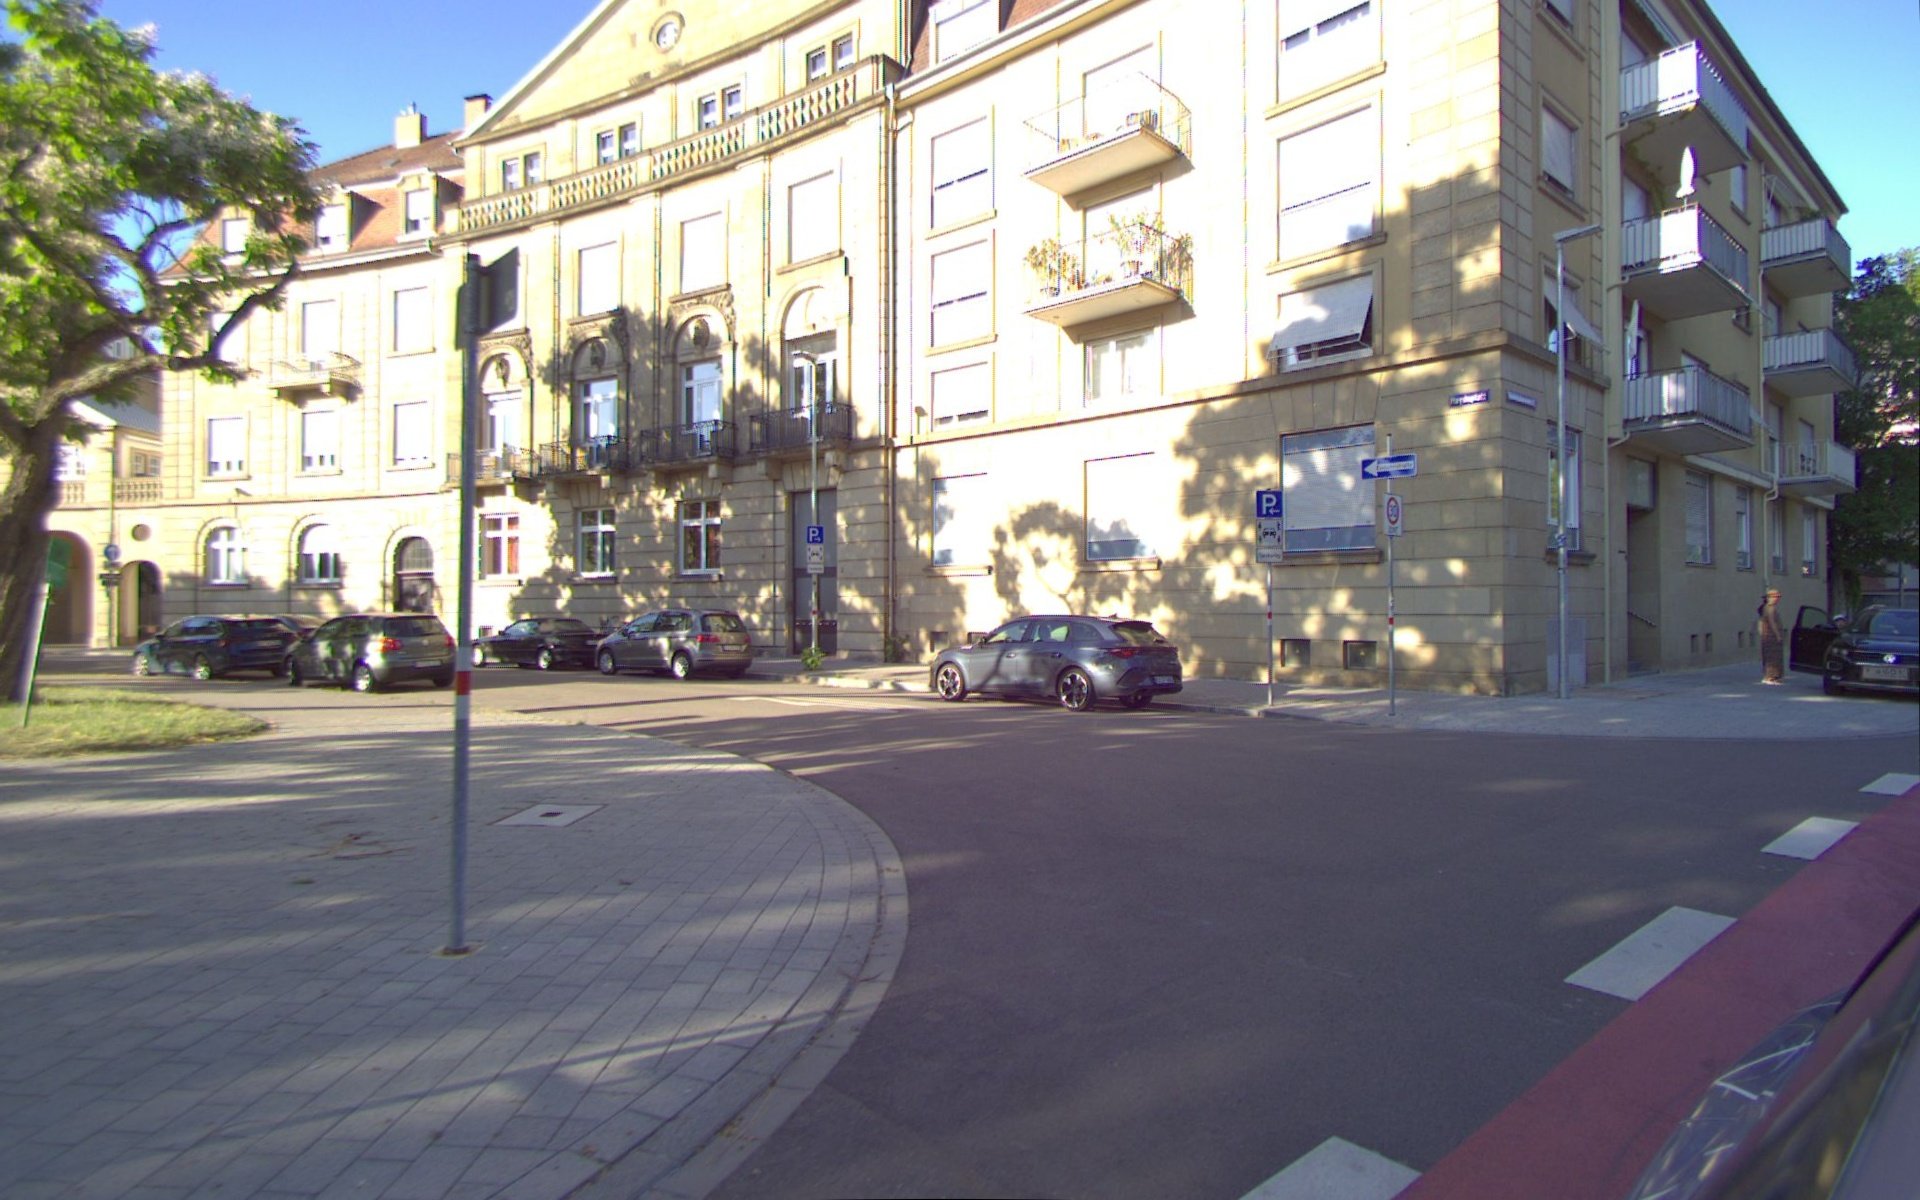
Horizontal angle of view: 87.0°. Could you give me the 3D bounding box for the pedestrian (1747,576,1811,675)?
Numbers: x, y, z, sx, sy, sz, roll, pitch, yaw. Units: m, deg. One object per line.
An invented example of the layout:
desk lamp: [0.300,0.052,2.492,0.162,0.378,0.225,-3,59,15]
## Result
pedestrian: [15.525,0.483,19.209,0.721,1.854,0.554,-1,-1,14]

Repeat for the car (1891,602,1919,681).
car: [20.116,0.792,20.095,4.269,1.437,1.708,-1,2,-38]

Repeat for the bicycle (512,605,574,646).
bicycle: [-13.314,0.803,32.287,2.102,1.245,0.609,0,0,26]

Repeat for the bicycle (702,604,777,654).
bicycle: [-6.067,0.772,27.775,2.240,1.327,0.607,0,0,33]

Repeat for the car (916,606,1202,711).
car: [1.473,0.830,16.393,1.904,1.437,4.440,-1,0,-45]

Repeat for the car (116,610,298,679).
car: [-17.151,0.954,23.004,4.395,1.435,1.552,0,0,27]

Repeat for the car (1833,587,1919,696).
car: [16.300,0.663,17.093,4.271,1.646,1.706,1,1,-40]

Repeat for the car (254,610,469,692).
car: [-11.905,0.936,20.070,4.330,1.435,1.826,0,0,30]

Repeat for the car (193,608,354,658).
car: [-21.474,1.004,31.665,4.590,1.435,1.808,-1,0,19]

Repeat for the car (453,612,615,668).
car: [-11.189,0.992,26.508,4.412,1.341,1.490,0,0,29]

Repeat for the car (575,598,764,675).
car: [-6.823,0.787,23.646,4.420,1.620,1.782,0,0,33]

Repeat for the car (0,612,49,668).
car: [-26.990,1.066,27.324,4.317,1.435,1.807,0,0,21]
